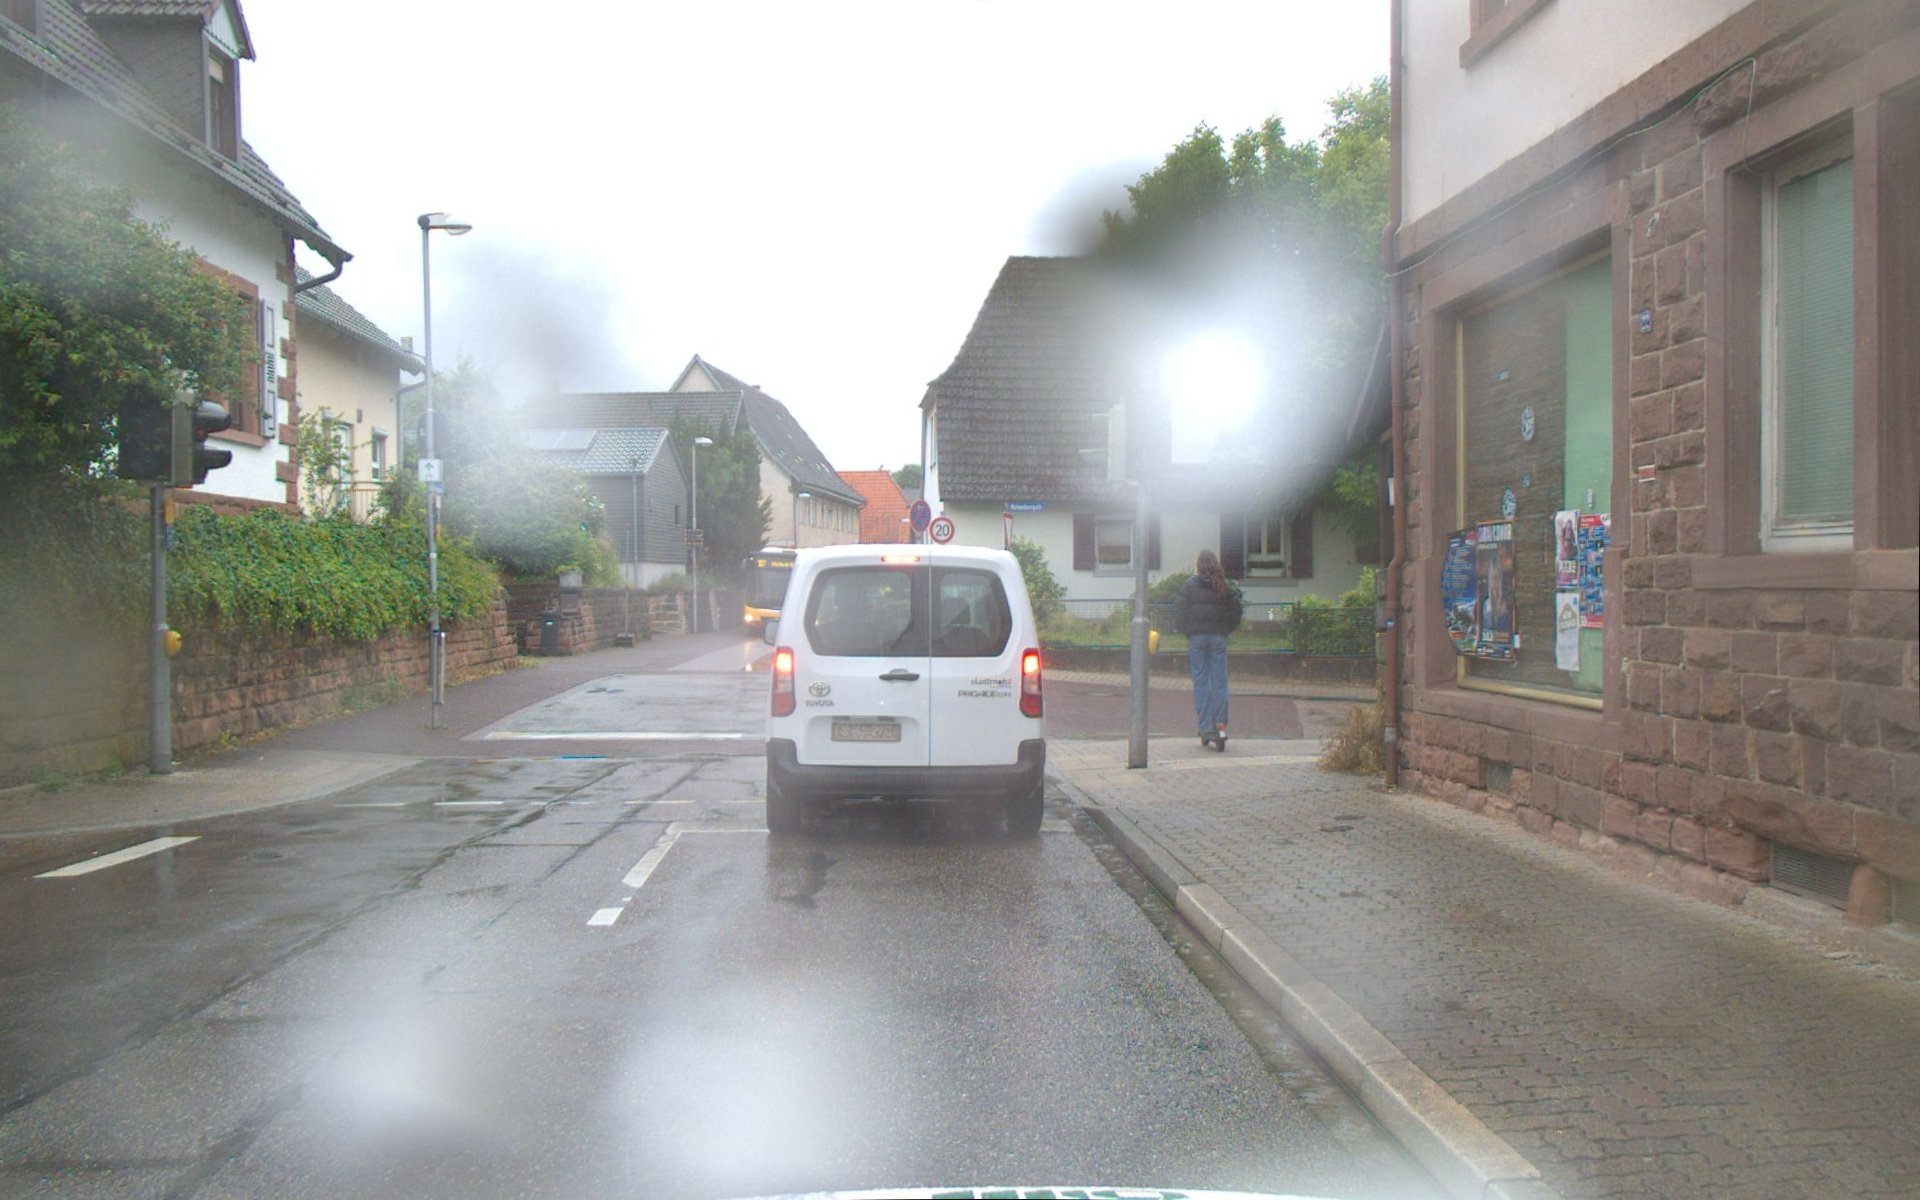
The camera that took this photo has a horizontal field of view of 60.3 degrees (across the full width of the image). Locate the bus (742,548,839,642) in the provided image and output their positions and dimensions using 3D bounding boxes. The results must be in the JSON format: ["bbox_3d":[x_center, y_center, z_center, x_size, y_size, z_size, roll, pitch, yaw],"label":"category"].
[{"bbox_3d":[-5.971,-0.360,59.952,2.596,3.051,12.190,0,2,-2],"label":"bus"}]

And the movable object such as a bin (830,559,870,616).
[{"bbox_3d":[-5.392,-0.611,81.424,1.691,2.699,3.974,1,0,0],"label":"movable object such as a bin"}]

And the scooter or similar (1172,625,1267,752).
[{"bbox_3d":[2.451,0.817,15.774,0.608,1.147,1.401,0,-1,-3],"label":"scooter or similar"}]

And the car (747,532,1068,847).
[{"bbox_3d":[-0.412,0.516,11.615,1.857,1.825,3.811,1,0,-3],"label":"car"}]

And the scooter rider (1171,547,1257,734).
[{"bbox_3d":[2.437,0.384,15.897,0.716,1.763,0.518,0,-1,-4],"label":"scooter rider"}]
